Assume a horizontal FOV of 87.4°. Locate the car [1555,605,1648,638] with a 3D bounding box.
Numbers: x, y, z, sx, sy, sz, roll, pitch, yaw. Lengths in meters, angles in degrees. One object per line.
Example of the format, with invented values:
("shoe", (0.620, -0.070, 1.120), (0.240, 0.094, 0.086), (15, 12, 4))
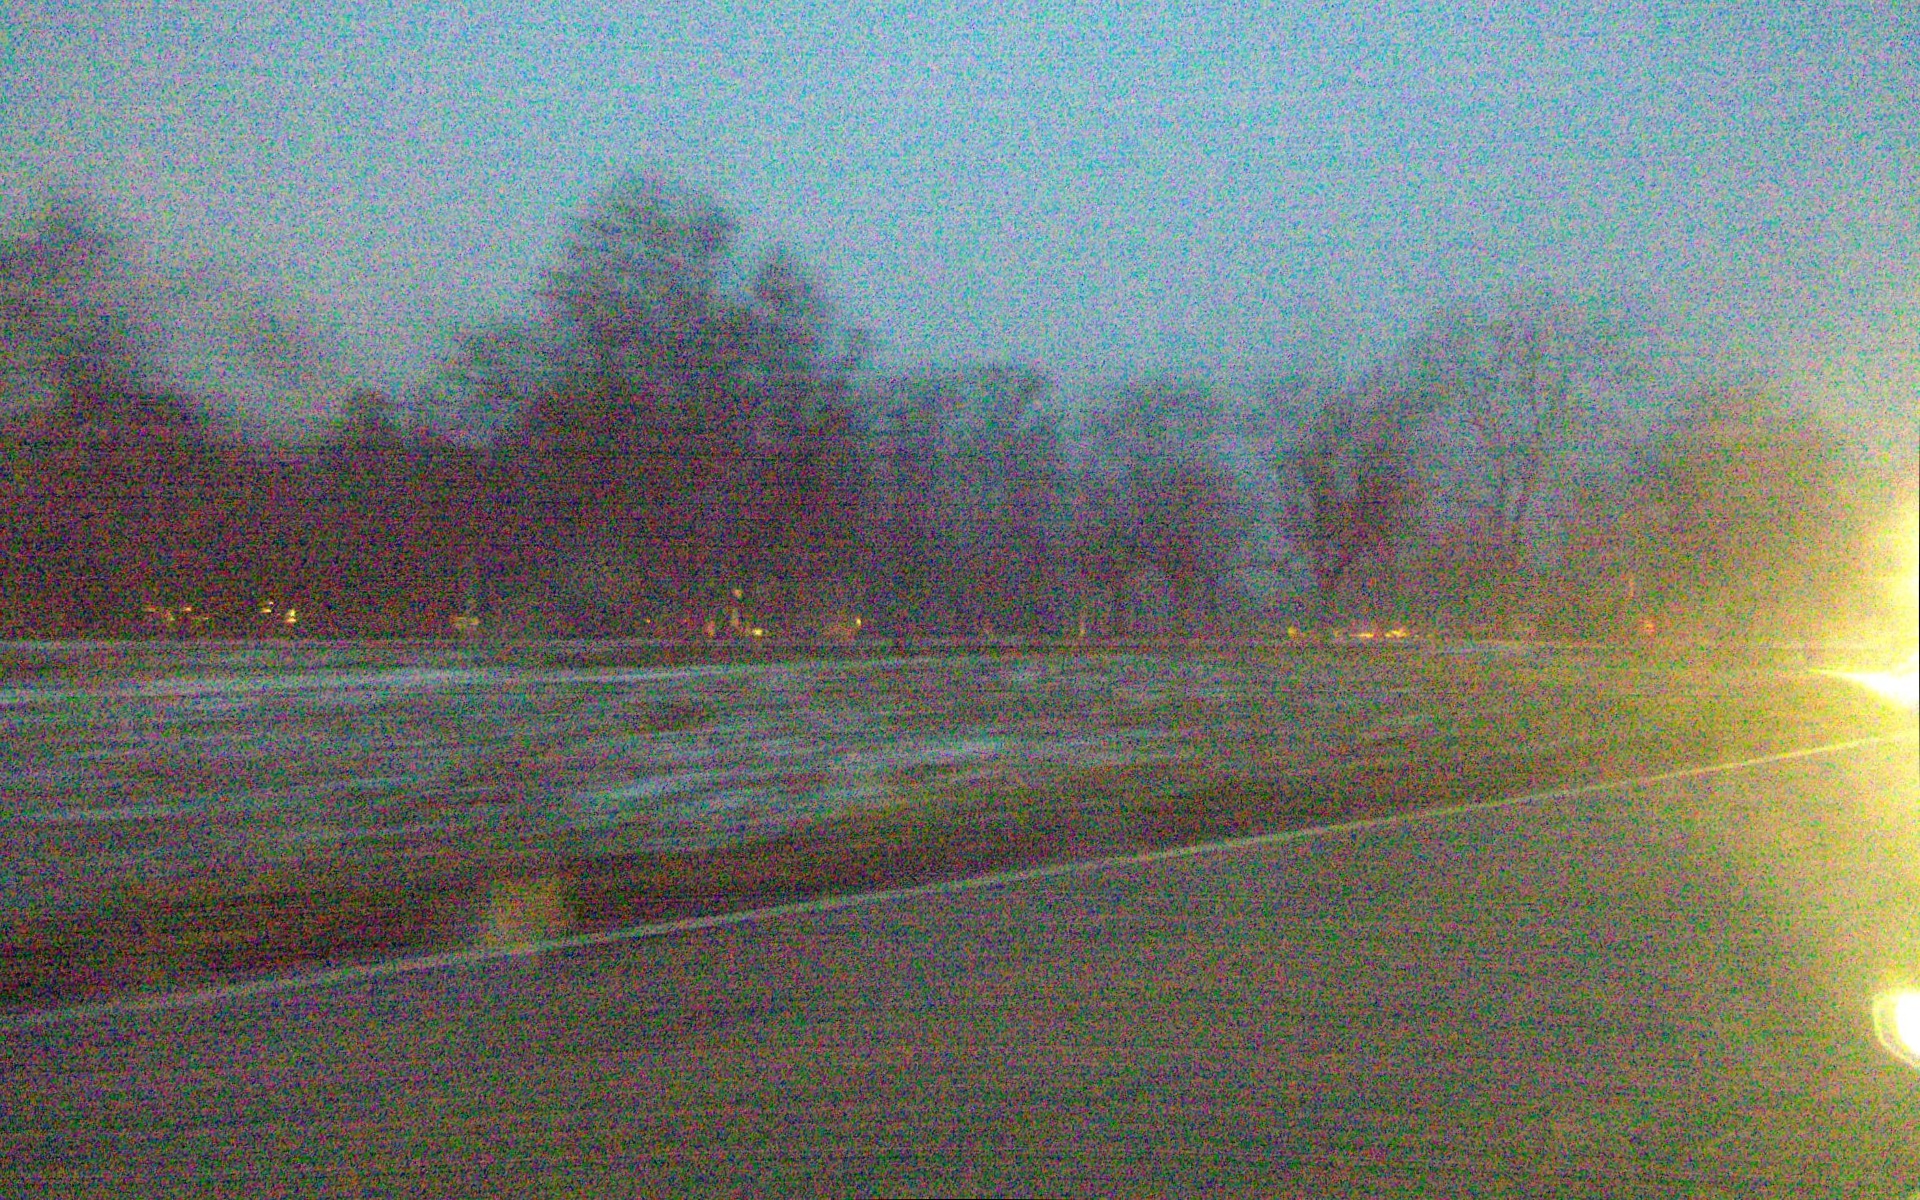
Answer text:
("car", (34.762, 1.152, 54.551), (4.085, 1.709, 1.693), (0, -2, 25))
